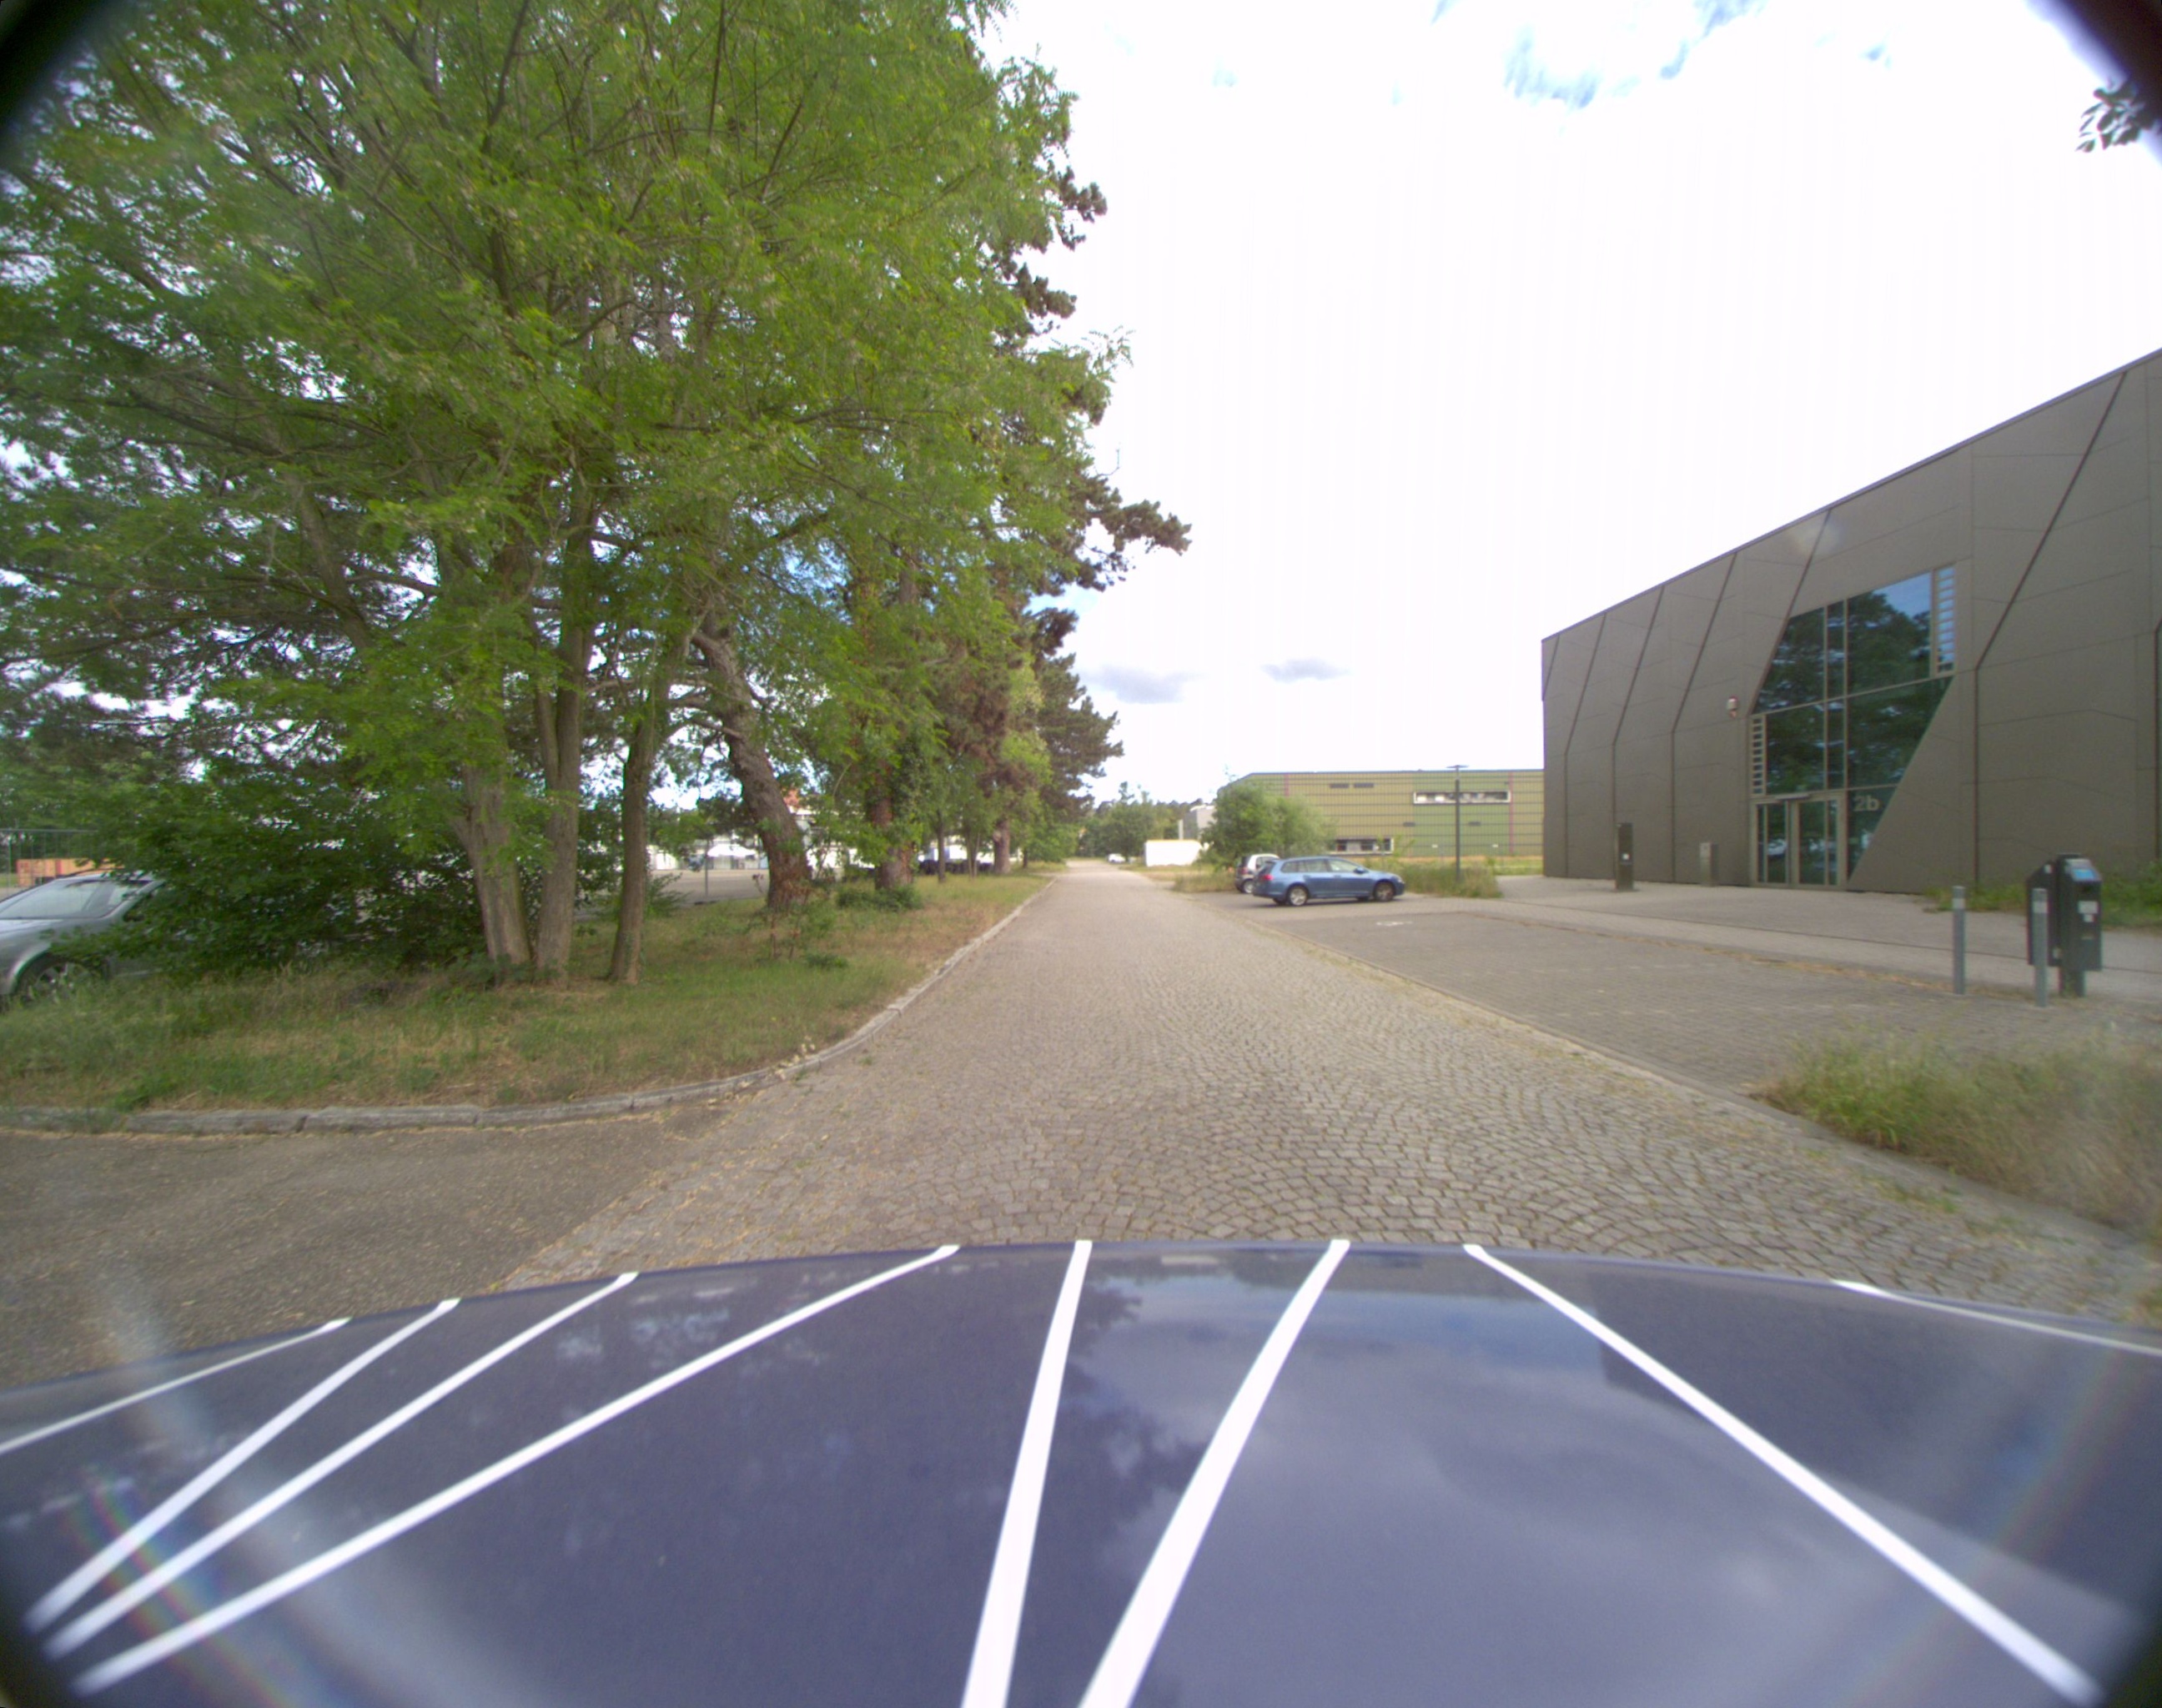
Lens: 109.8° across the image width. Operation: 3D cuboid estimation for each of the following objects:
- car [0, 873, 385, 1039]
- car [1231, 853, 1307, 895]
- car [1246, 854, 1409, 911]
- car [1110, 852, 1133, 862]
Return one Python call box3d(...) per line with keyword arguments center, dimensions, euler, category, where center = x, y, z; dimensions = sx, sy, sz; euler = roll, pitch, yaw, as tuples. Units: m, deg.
box3d(center=(-11.073, 1.027, 8.950), dimensions=(1.678, 1.442, 4.488), euler=(-1, 0, -2), category="car")
box3d(center=(7.551, 0.791, 30.664), dimensions=(2.584, 1.521, 1.500), euler=(-3, 1, -1), category="car")
box3d(center=(7.488, 0.840, 23.295), dimensions=(4.426, 1.461, 1.633), euler=(-3, 1, -2), category="car")
box3d(center=(7.611, 0.621, 143.101), dimensions=(4.062, 1.767, 1.792), euler=(-1, 1, 0), category="car")
